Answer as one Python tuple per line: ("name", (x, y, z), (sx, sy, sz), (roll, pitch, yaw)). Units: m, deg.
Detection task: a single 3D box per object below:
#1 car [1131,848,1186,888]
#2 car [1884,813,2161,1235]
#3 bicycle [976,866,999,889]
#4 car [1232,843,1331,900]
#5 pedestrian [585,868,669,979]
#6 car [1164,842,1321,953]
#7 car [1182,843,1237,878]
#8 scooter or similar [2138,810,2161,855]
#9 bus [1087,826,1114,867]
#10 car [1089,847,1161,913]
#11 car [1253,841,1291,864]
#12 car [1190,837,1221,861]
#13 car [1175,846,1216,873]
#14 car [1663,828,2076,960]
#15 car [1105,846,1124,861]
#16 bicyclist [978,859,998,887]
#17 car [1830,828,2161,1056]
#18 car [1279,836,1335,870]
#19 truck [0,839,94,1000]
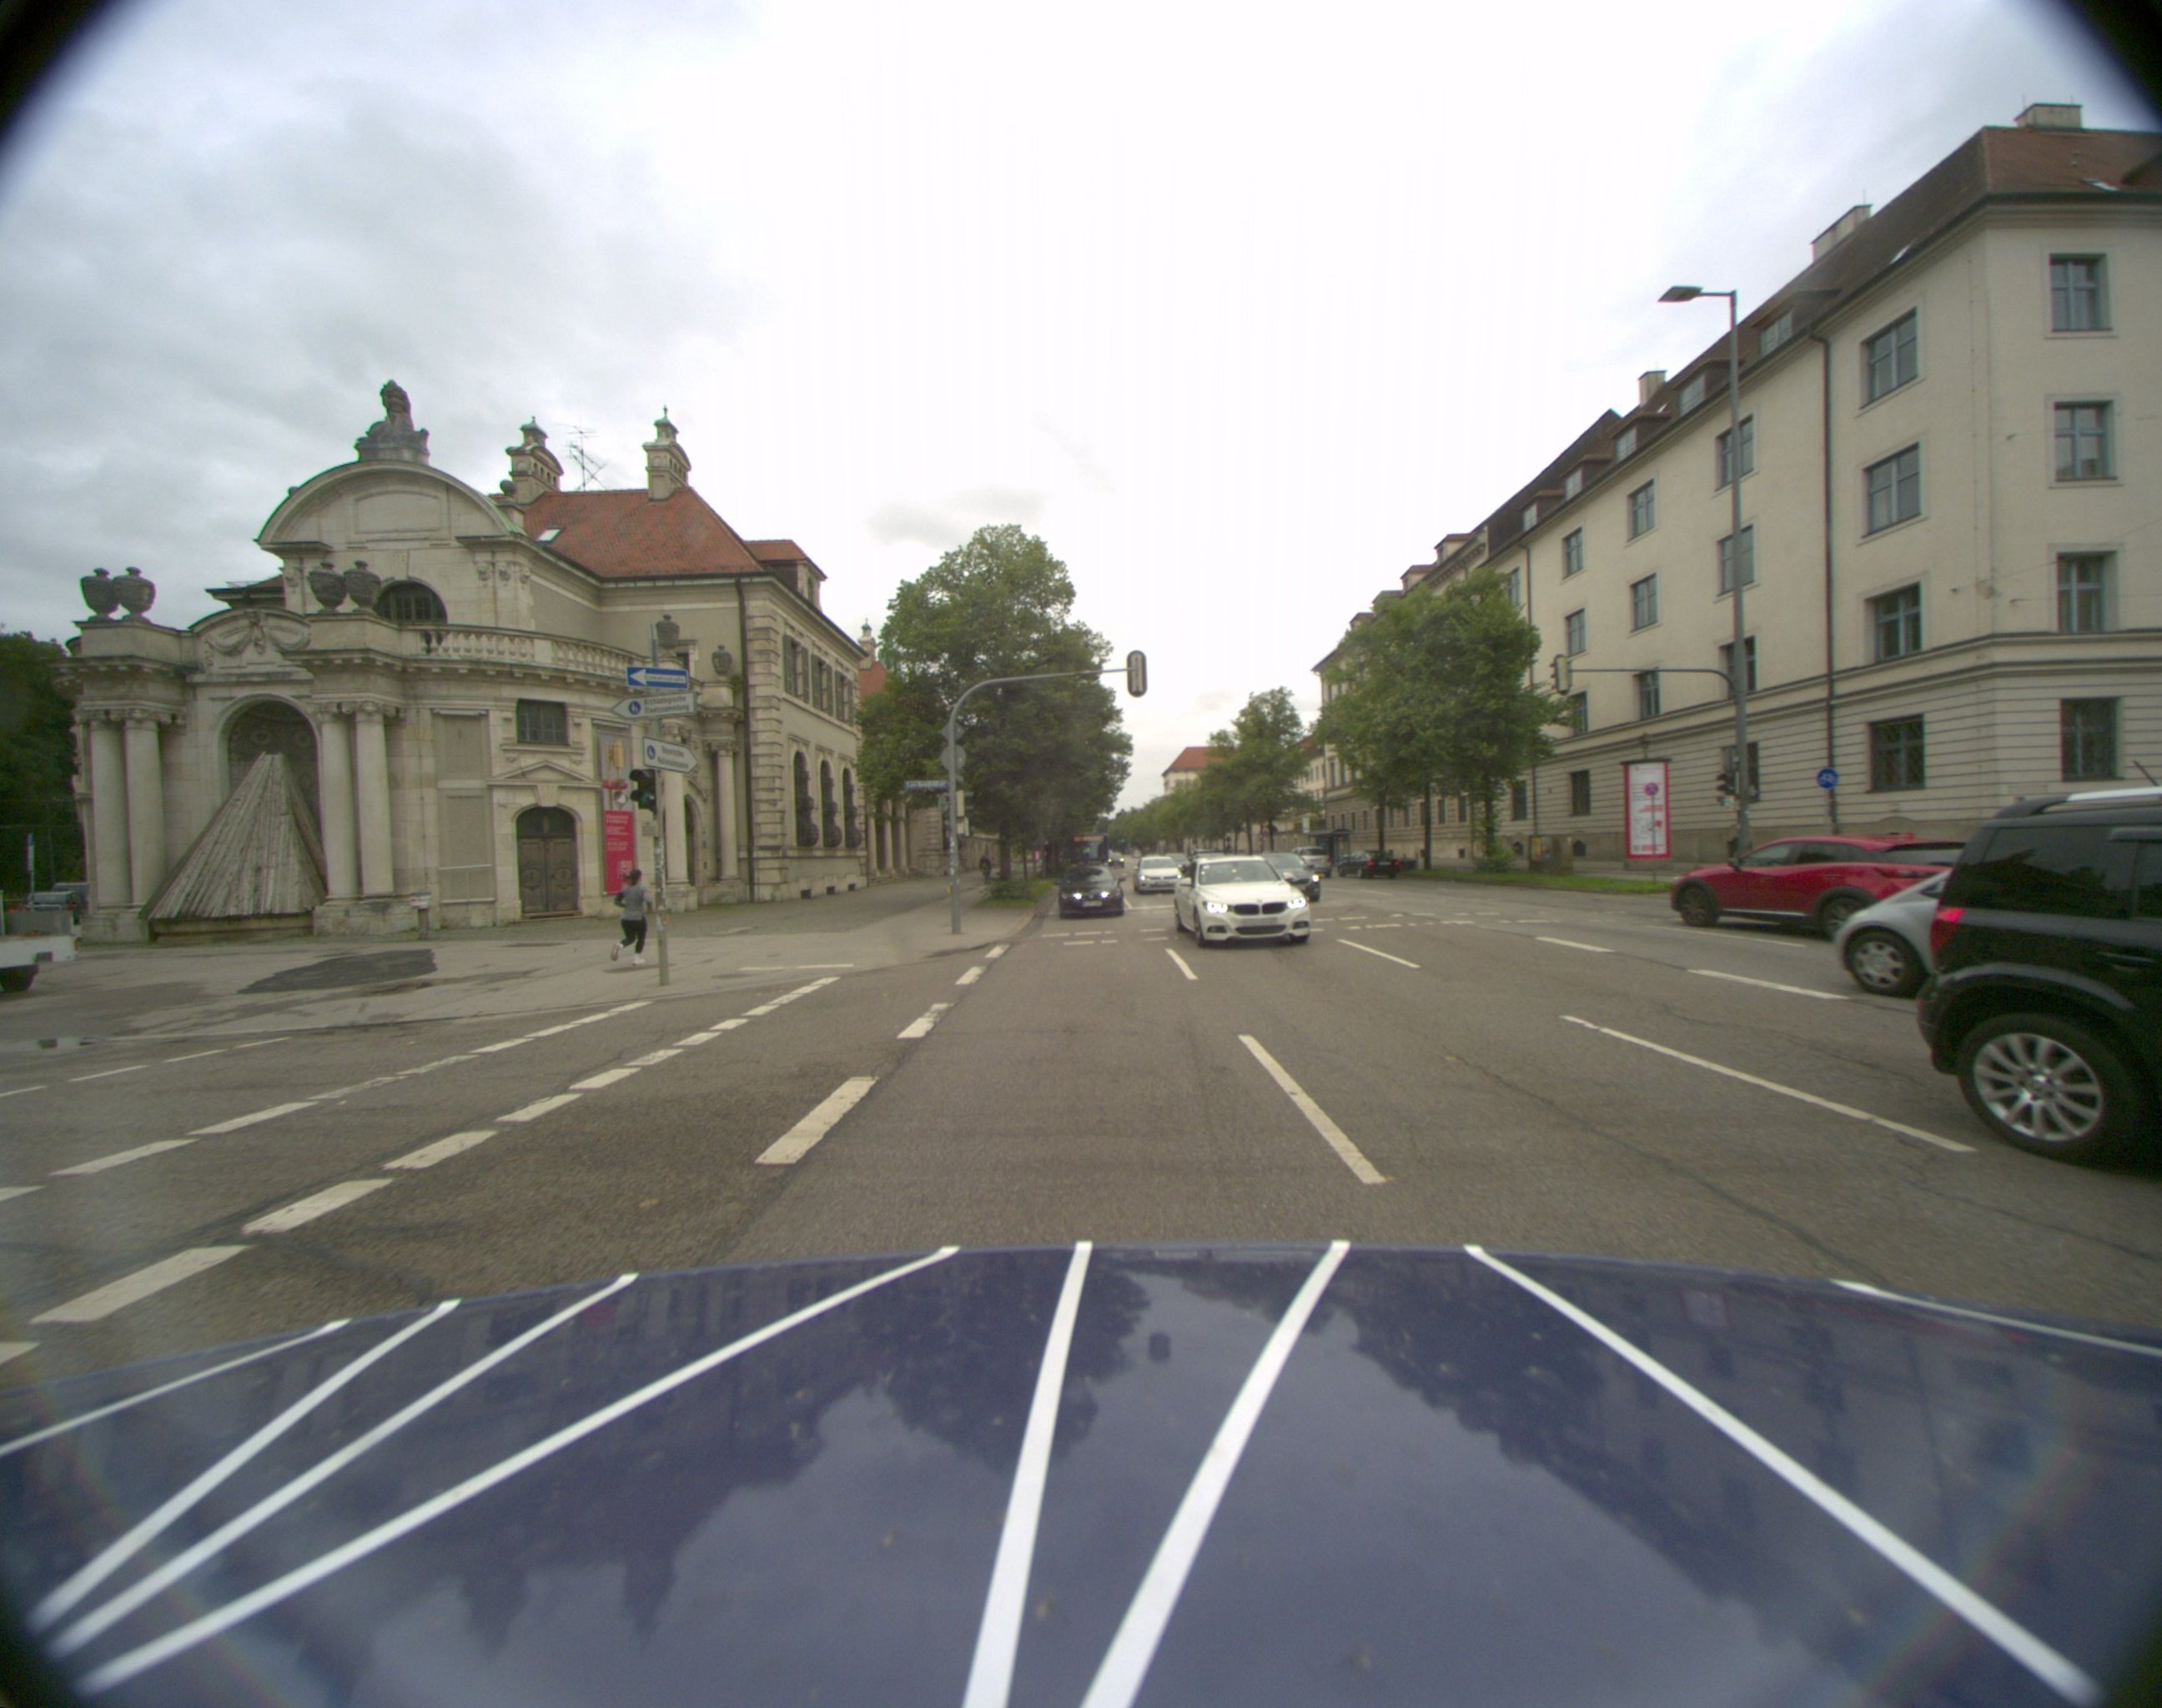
("car", (3.074, 0.506, 30.972), (1.797, 1.439, 4.274), (-2, 1, 0))
("car", (5.049, 0.660, 1.859), (1.727, 1.627, 4.204), (-2, 1, 0))
("bicycle", (-4.614, 1.151, 37.692), (0.830, 1.001, 2.057), (-4, 1, 1))
("car", (5.850, 0.445, 22.715), (1.797, 1.439, 4.274), (-2, 1, 0))
("pedestrian", (-7.792, 1.161, 13.093), (1.069, 1.754, 0.773), (-4, 1, -26))
("car", (2.743, 0.627, 14.096), (1.797, 1.627, 5.025), (-2, 1, 0))
("car", (5.906, 0.252, 35.378), (1.797, 1.439, 4.274), (-2, 1, 0))
("scooter or similar", (27.521, -0.541, 18.566), (0.690, 1.112, 1.947), (-4, 1, 1))
("bus", (1.315, -0.503, 52.701), (1.638, 2.570, 6.701), (-2, 1, 1))
("car", (1.180, 0.656, 22.050), (1.797, 1.627, 4.274), (-2, 1, 0))
("car", (14.214, -0.147, 56.763), (1.727, 1.577, 4.444), (-2, 1, 0))
("car", (8.986, -0.395, 55.095), (1.726, 1.577, 4.374), (-2, 1, 3))
("car", (6.844, 0.300, 45.876), (1.797, 1.439, 4.274), (-2, 1, 0))
("car", (11.085, 0.454, 11.234), (1.757, 1.521, 4.226), (-2, 1, 1))
("car", (3.421, -0.080, 78.079), (1.797, 1.439, 4.274), (-2, 1, 0))
("bicyclist", (-4.623, 0.919, 37.784), (0.808, 1.305, 0.893), (-4, 1, 1))
("car", (8.354, 0.598, 5.677), (1.638, 1.562, 3.945), (-2, 1, 1))
("car", (11.583, -0.057, 39.144), (1.683, 1.630, 4.164), (-2, 1, 1))
("truck", (-19.654, 1.191, 12.540), (5.924, 2.480, 2.297), (-3, 1, 20))
